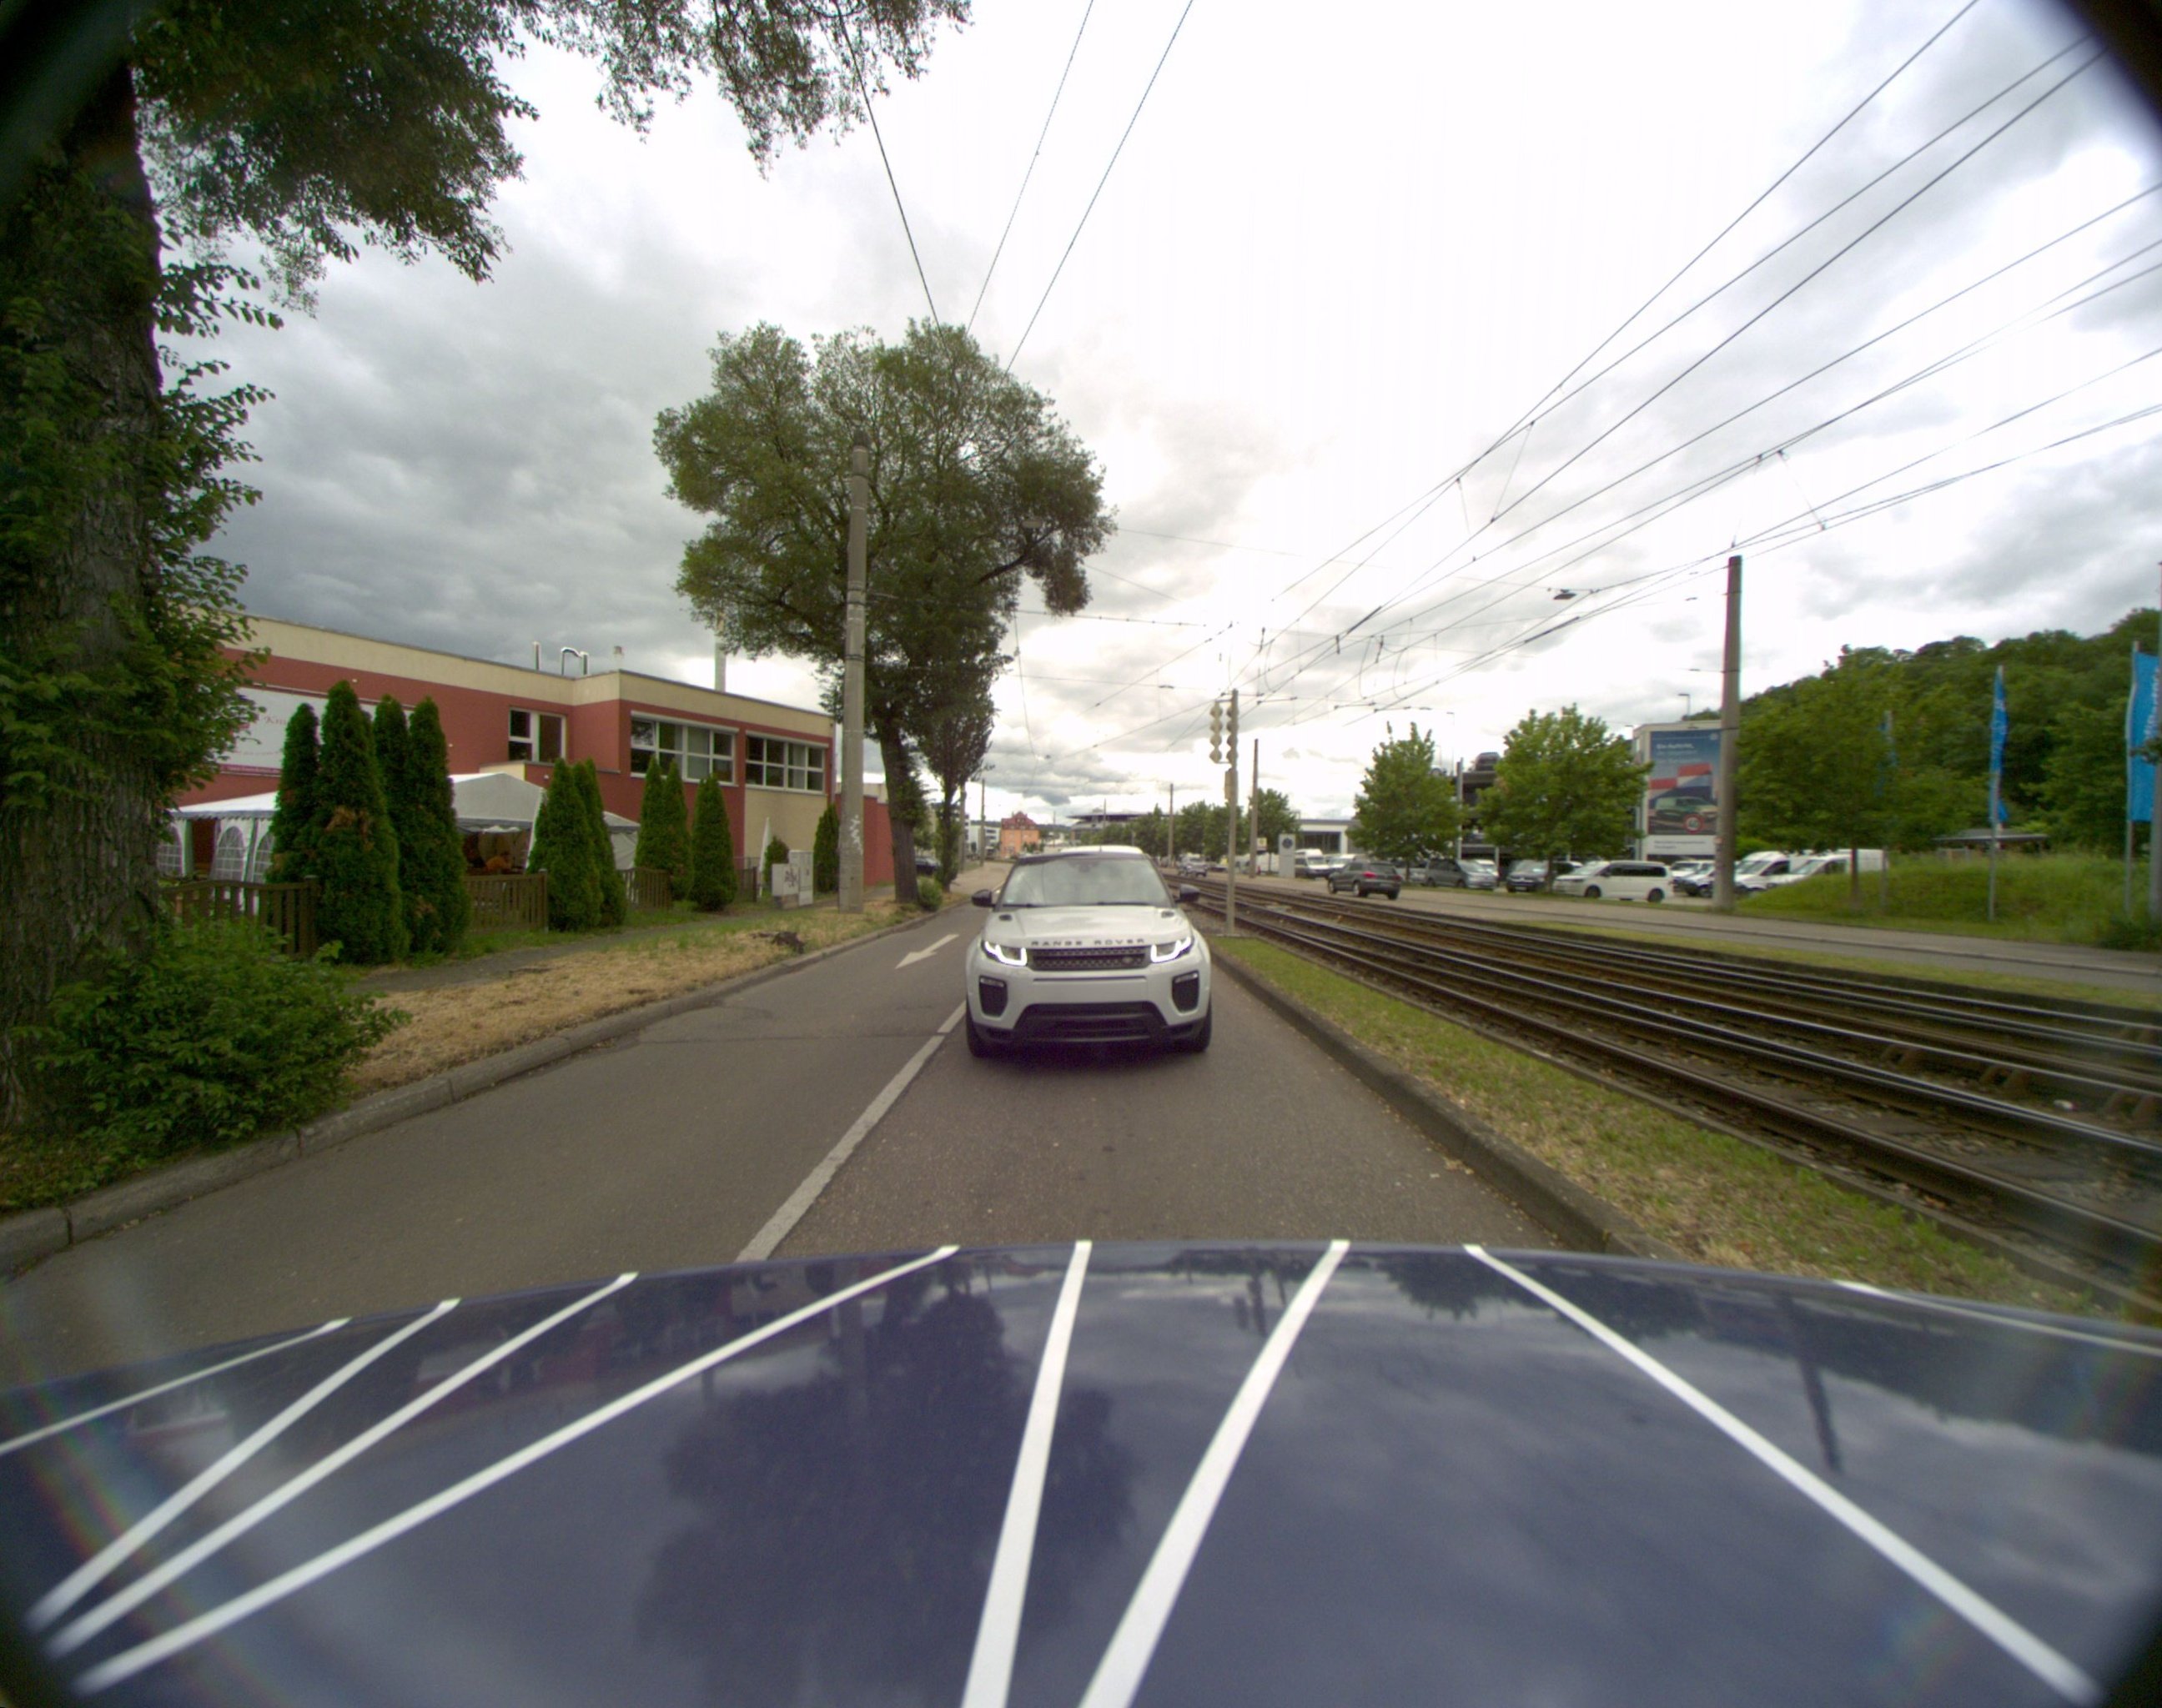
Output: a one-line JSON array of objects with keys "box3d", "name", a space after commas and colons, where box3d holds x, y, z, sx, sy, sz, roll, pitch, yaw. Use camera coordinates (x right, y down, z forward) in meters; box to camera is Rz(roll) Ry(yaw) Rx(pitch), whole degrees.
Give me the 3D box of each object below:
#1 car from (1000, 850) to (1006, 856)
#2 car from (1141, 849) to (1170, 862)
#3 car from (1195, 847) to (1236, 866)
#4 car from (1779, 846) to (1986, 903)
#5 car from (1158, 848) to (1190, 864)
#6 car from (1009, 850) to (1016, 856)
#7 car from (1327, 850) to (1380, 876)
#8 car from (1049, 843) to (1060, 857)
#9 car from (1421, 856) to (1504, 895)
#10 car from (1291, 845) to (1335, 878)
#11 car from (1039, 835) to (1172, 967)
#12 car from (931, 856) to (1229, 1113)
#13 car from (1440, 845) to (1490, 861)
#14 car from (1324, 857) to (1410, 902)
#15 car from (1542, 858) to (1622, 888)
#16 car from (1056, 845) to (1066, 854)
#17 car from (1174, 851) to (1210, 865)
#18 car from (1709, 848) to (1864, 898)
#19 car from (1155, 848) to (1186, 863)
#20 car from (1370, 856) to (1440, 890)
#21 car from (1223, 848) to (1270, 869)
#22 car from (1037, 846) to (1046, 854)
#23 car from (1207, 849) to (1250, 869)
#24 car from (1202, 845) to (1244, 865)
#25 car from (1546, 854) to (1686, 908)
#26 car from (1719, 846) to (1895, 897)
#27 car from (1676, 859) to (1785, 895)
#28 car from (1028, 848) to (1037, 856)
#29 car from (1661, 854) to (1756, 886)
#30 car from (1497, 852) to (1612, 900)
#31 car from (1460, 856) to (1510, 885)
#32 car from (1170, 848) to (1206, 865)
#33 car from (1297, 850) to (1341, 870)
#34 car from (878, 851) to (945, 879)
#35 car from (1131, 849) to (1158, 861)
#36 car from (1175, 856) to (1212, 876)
[{"box3d": [-26.500, -0.444, 257.990, 2.000, 2.002, 3.997, -2, 1, -7], "name": "car"}, {"box3d": [12.995, 0.228, 132.832, 4.639, 2.196, 2.107, -2, 1, -8], "name": "car"}, {"box3d": [17.057, 0.311, 96.391, 4.639, 2.196, 2.107, -2, 1, -8], "name": "car"}, {"box3d": [34.669, 0.907, 33.125, 5.850, 2.254, 2.056, -2, 1, 22], "name": "car"}, {"box3d": [14.744, 0.300, 120.481, 4.639, 2.196, 2.107, -2, 1, -8], "name": "car"}, {"box3d": [-20.844, -0.318, 231.384, 2.000, 2.002, 3.997, -2, 1, -7], "name": "car"}, {"box3d": [30.313, 0.966, 84.561, 6.057, 2.608, 2.316, -3, 1, -34], "name": "car"}, {"box3d": [-5.842, -0.846, 167.158, 2.410, 2.931, 4.747, -2, 1, -2], "name": "car"}, {"box3d": [22.911, 1.255, 45.862, 2.142, 2.104, 4.773, -2, 1, -7], "name": "car"}, {"box3d": [22.393, 0.668, 73.590, 2.320, 2.994, 6.157, -2, 1, 0], "name": "car"}, {"box3d": [0.399, 0.702, 13.997, 1.998, 1.990, 5.034, 0, 0, 1], "name": "car"}, {"box3d": [-0.006, 0.887, 7.237, 1.998, 1.680, 4.268, 0, 1, 0], "name": "car"}, {"box3d": [46.326, -0.119, 91.797, 5.216, 1.826, 1.983, -2, 1, 21], "name": "car"}, {"box3d": [12.657, 1.080, 33.974, 1.906, 1.708, 4.134, 3, 0, -5], "name": "car"}, {"box3d": [34.392, 1.296, 52.313, 4.228, 1.826, 1.983, -2, 1, 19], "name": "car"}, {"box3d": [-4.658, -1.065, 178.506, 2.000, 2.002, 3.997, -2, 1, -7], "name": "car"}, {"box3d": [15.744, 0.584, 108.110, 4.639, 1.829, 2.107, -2, 1, -8], "name": "car"}, {"box3d": [36.855, 0.996, 39.889, 5.652, 2.446, 1.983, -2, 1, 19], "name": "car"}, {"box3d": [14.466, 0.283, 122.916, 4.639, 2.196, 2.107, -2, 1, -8], "name": "car"}, {"box3d": [22.119, 1.224, 52.099, 2.142, 2.104, 4.772, -2, 1, -8], "name": "car"}, {"box3d": [18.752, 0.466, 86.083, 4.639, 2.196, 2.107, -2, 1, -8], "name": "car"}, {"box3d": [-10.659, -0.981, 205.064, 2.000, 2.002, 3.997, -2, 1, -7], "name": "car"}, {"box3d": [17.686, 0.597, 91.171, 4.639, 2.196, 2.107, -2, 1, -8], "name": "car"}, {"box3d": [17.478, 0.131, 93.607, 4.639, 2.196, 2.107, -2, 1, -8], "name": "car"}, {"box3d": [25.270, 1.235, 35.996, 5.269, 2.254, 1.999, -2, 1, -3], "name": "car"}, {"box3d": [35.032, 0.850, 36.904, 5.839, 2.254, 2.056, -2, 1, 22], "name": "car"}, {"box3d": [36.650, 1.280, 42.983, 4.228, 1.826, 1.983, -2, 1, 19], "name": "car"}, {"box3d": [-12.505, -0.588, 195.325, 2.000, 2.002, 3.997, -2, 1, -7], "name": "car"}, {"box3d": [39.866, 1.029, 48.393, 4.228, 1.826, 1.983, -2, 1, 19], "name": "car"}, {"box3d": [24.672, 1.121, 39.668, 4.774, 2.254, 1.979, -2, 1, -3], "name": "car"}, {"box3d": [28.873, 1.142, 54.405, 1.900, 1.882, 4.600, -2, 1, 12], "name": "car"}, {"box3d": [15.529, 0.382, 110.510, 4.639, 2.196, 2.107, -2, 1, -8], "name": "car"}, {"box3d": [29.106, 0.711, 93.024, 4.636, 2.196, 2.108, -2, 1, -1], "name": "car"}, {"box3d": [-10.961, 0.693, 49.470, 3.999, 1.636, 1.895, -2, 1, -6], "name": "car"}, {"box3d": [11.829, 0.177, 141.315, 4.639, 2.196, 2.107, -2, 1, -8], "name": "car"}, {"box3d": [9.273, 1.000, 62.942, 1.999, 1.569, 4.175, 1, 0, -5], "name": "car"}]
